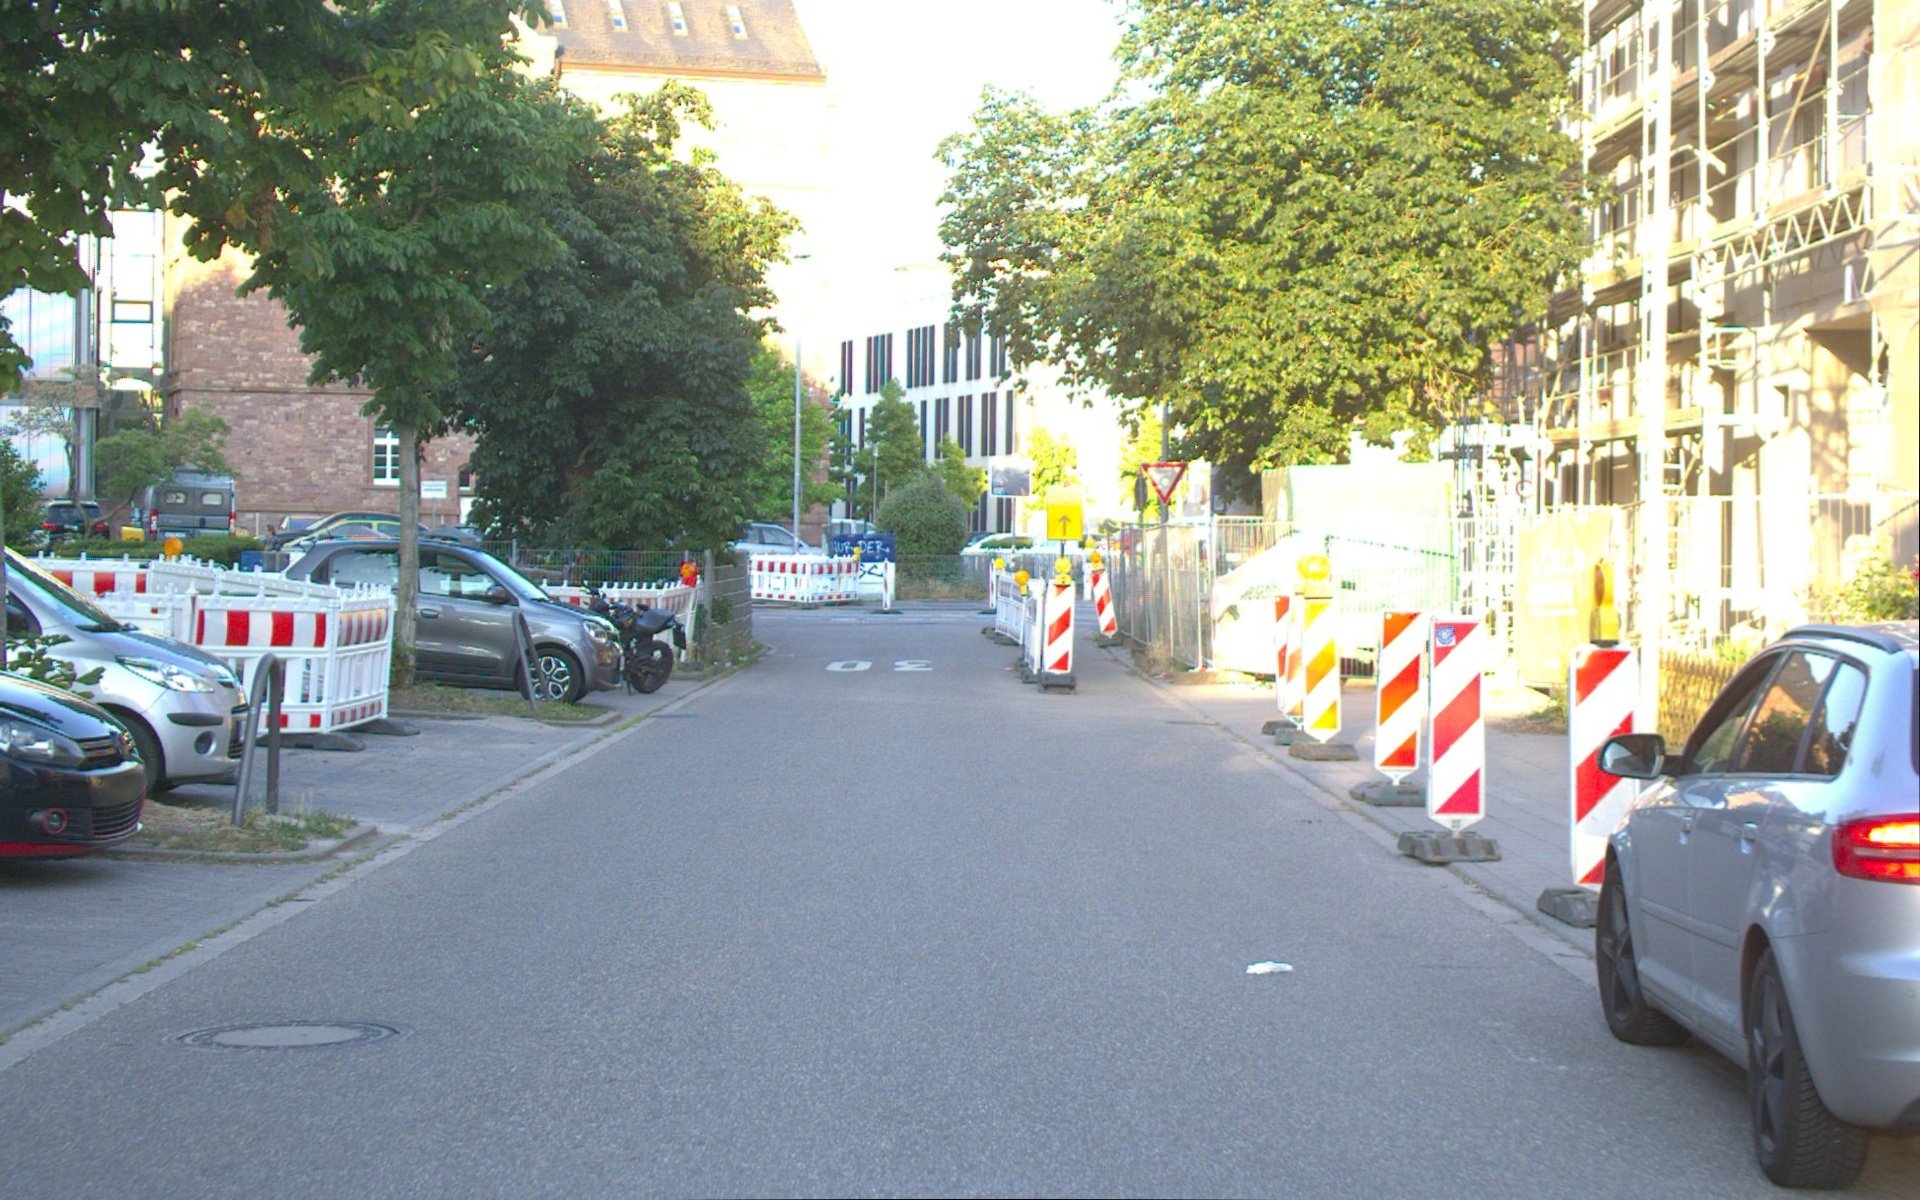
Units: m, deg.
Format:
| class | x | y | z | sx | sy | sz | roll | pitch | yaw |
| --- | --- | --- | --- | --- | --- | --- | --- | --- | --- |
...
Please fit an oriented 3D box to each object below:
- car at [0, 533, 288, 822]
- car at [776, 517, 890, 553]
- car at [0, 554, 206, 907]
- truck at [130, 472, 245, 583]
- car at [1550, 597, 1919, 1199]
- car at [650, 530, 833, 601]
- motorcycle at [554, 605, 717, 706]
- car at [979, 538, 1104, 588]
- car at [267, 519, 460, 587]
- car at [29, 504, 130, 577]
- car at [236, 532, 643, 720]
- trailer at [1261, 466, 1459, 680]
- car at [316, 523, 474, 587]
| class | x | y | z | sx | sy | sz | roll | pitch | yaw |
| --- | --- | --- | --- | --- | --- | --- | --- | --- | --- |
| car | -5.788 | 0.390 | 19.874 | 3.474 | 1.561 | 1.728 | 2 | 0 | -3 |
| car | -4.880 | -2.500 | 131.974 | 3.986 | 1.308 | 1.878 | 0 | 1 | -18 |
| car | -5.617 | 0.490 | 15.504 | 3.978 | 1.484 | 1.728 | 2 | 0 | 2 |
| truck | -18.898 | -1.778 | 83.947 | 2.333 | 2.608 | 4.975 | 1 | 1 | -17 |
| car | 2.874 | 0.741 | 9.752 | 1.776 | 1.392 | 4.107 | 1 | 1 | 2 |
| car | -5.454 | -0.867 | 85.783 | 4.268 | 1.703 | 1.703 | 0 | 1 | -19 |
| motorcycle | -3.481 | 0.598 | 37.139 | 0.538 | 1.017 | 2.208 | 4 | 1 | 29 |
| car | 2.678 | -1.210 | 113.370 | 3.739 | 1.597 | 1.687 | 0 | 1 | -21 |
| car | -14.905 | -1.170 | 85.853 | 4.582 | 1.632 | 1.576 | 0 | 1 | -16 |
| car | -21.331 | -1.451 | 83.197 | 1.993 | 1.686 | 4.001 | 0 | 1 | -20 |
| car | -5.021 | 0.235 | 33.515 | 3.623 | 1.551 | 1.693 | 4 | 1 | 0 |
| trailer | 4.953 | -0.369 | 43.076 | 1.993 | 2.531 | 4.186 | 1 | 1 | 1 |
| car | -13.776 | -1.094 | 83.830 | 3.630 | 1.498 | 1.638 | 0 | 1 | -16 |
